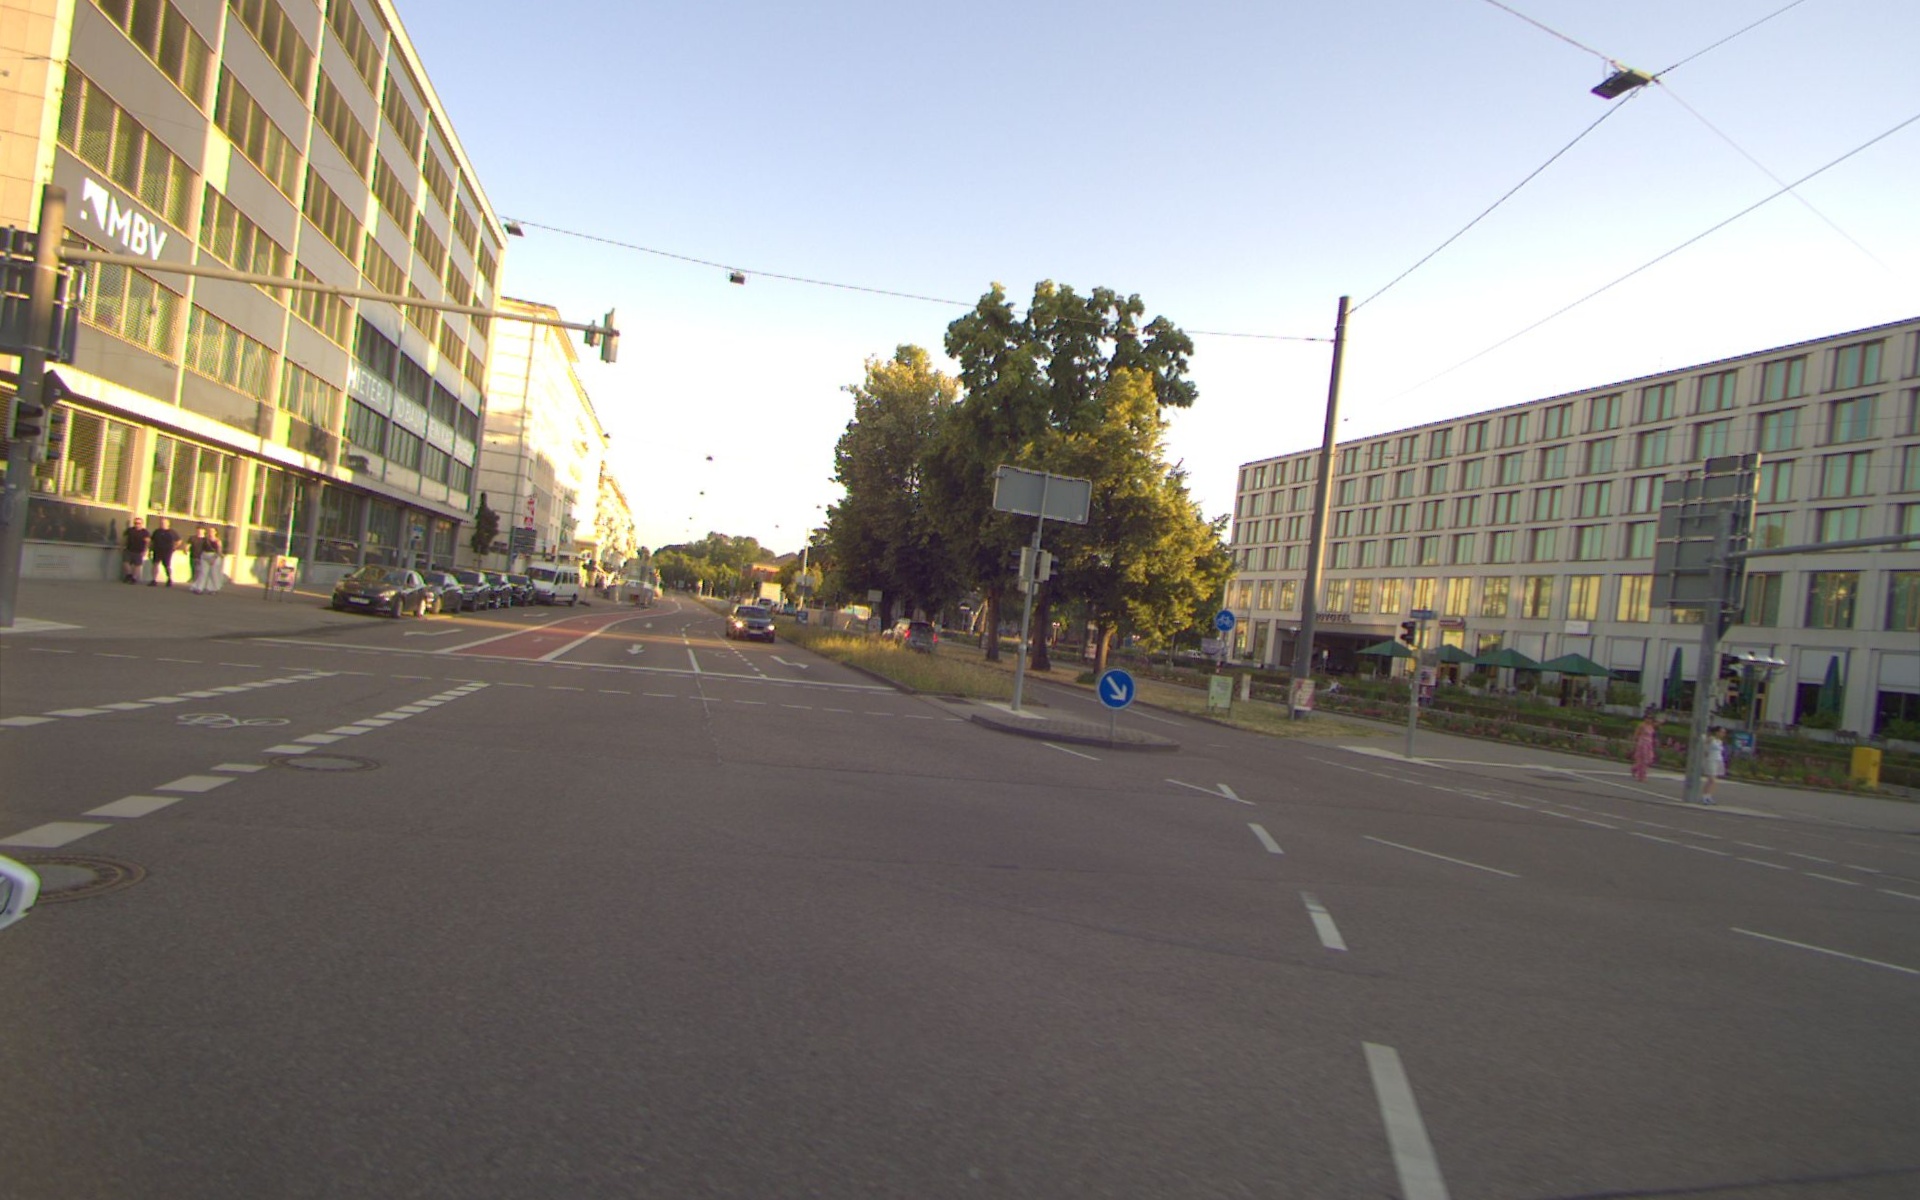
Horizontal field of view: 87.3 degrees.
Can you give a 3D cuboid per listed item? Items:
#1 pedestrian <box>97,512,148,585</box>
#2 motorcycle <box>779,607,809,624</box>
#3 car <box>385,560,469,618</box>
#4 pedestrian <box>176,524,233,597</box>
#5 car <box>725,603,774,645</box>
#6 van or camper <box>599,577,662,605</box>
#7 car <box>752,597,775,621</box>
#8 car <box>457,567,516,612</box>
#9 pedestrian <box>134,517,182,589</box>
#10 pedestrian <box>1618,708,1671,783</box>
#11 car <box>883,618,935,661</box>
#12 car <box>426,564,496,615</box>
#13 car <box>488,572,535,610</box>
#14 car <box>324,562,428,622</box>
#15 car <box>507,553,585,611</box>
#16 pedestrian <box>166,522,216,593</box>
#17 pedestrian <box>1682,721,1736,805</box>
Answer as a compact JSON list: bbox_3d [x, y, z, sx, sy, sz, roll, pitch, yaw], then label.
[{"bbox_3d":[-21.489,-1.309,25.819,0.646,1.789,0.643,7,-1,-20],"label":"pedestrian"},{"bbox_3d":[-20.552,1.910,124.255,3.443,1.775,0.923,7,-1,-14],"label":"motorcycle"},{"bbox_3d":[-19.142,-0.378,36.286,1.675,1.682,3.856,11,-3,-16],"label":"car"},{"bbox_3d":[-19.881,-1.022,26.484,0.832,1.789,0.782,7,-1,-20],"label":"pedestrian"},{"bbox_3d":[-8.873,0.970,42.183,1.672,1.437,4.162,7,-1,-15],"label":"car"},{"bbox_3d":[-33.091,-0.848,101.098,2.215,2.193,5.495,5,-1,43],"label":"van or camper"},{"bbox_3d":[-20.566,0.911,105.170,1.860,2.264,3.900,7,-1,-15],"label":"car"},{"bbox_3d":[-21.933,-0.463,46.723,1.675,1.682,3.856,11,-3,-16],"label":"car"},{"bbox_3d":[-21.308,-1.234,26.736,0.646,1.789,0.643,7,-1,-20],"label":"pedestrian"},{"bbox_3d":[16.452,3.483,24.188,0.712,1.645,0.739,7,-1,16],"label":"pedestrian"},{"bbox_3d":[-2.353,1.756,45.699,1.671,1.623,4.085,10,-2,-9],"label":"car"},{"bbox_3d":[-20.541,-0.422,41.579,1.675,1.682,3.856,12,-3,-16],"label":"car"},{"bbox_3d":[-23.494,-0.470,52.778,1.483,1.682,3.856,11,-3,-16],"label":"car"},{"bbox_3d":[-17.711,-0.219,30.697,1.674,1.426,3.857,10,-3,-16],"label":"car"},{"bbox_3d":[-24.253,-0.974,59.211,2.208,2.655,5.853,12,-3,-5],"label":"car"},{"bbox_3d":[-20.606,-1.123,26.984,0.731,1.789,0.670,7,-1,-20],"label":"pedestrian"},{"bbox_3d":[15.925,3.457,21.398,0.527,1.645,0.628,7,-1,1],"label":"pedestrian"}]
